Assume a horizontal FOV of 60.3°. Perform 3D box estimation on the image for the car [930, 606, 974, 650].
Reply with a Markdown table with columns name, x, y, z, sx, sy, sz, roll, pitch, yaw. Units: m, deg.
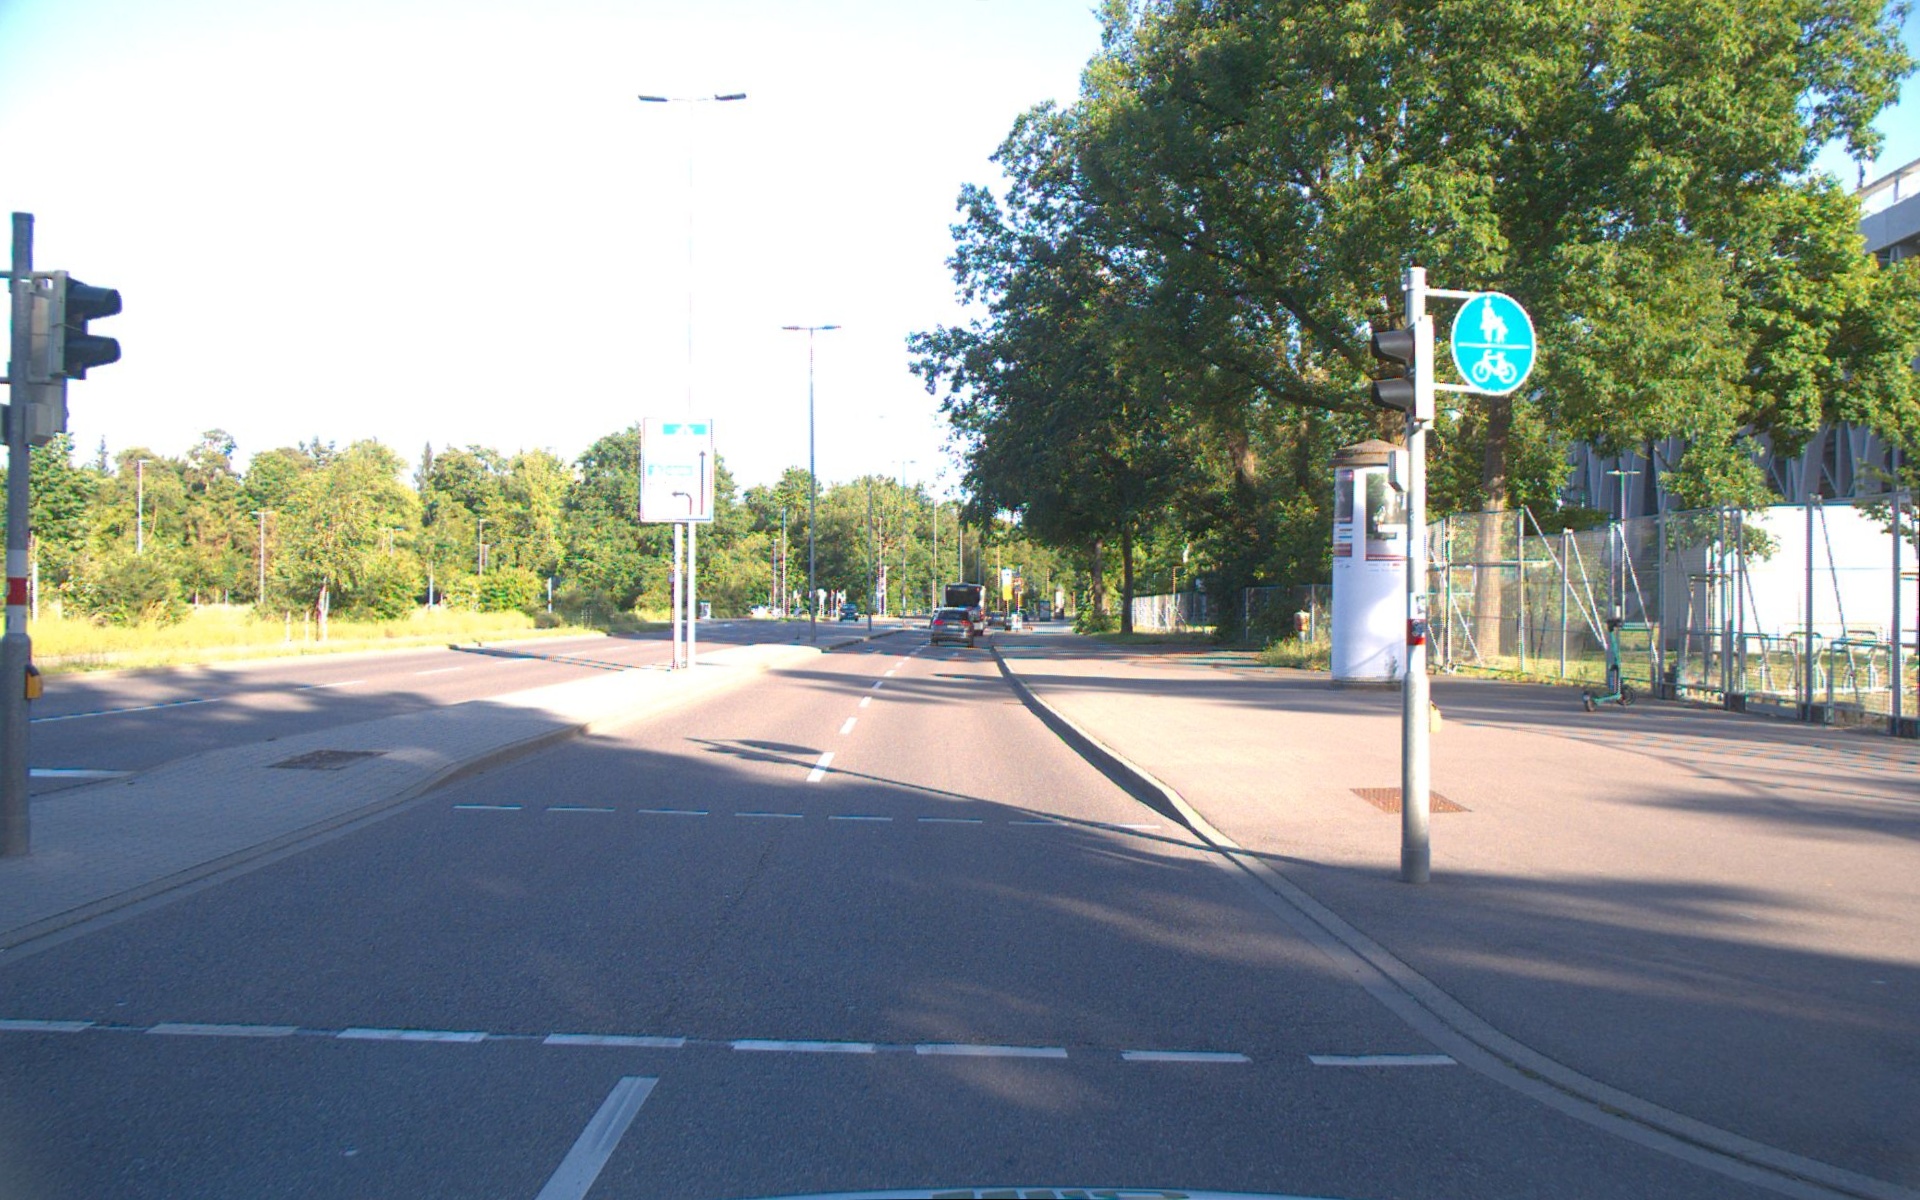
| name | x | y | z | sx | sy | sz | roll | pitch | yaw |
| --- | --- | --- | --- | --- | --- | --- | --- | --- | --- |
| car | -0.359 | 1.193 | 71.537 | 1.842 | 1.796 | 3.999 | 0 | 0 | -1 |

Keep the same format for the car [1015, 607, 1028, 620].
| name | x | y | z | sx | sy | sz | roll | pitch | yaw |
| --- | --- | --- | --- | --- | --- | --- | --- | --- | --- |
| car | 7.895 | 1.758 | 212.360 | 1.560 | 1.633 | 3.583 | 2 | -1 | 0 |

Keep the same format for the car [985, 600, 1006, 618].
| name | x | y | z | sx | sy | sz | roll | pitch | yaw |
| --- | --- | --- | --- | --- | --- | --- | --- | --- | --- |
| car | 3.380 | 0.837 | 157.621 | 1.824 | 1.713 | 3.774 | 0 | 0 | 3 |

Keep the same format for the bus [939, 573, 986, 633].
| name | x | y | z | sx | sy | sz | roll | pitch | yaw |
| --- | --- | --- | --- | --- | --- | --- | --- | --- | --- |
| bus | 0.116 | 0.155 | 99.224 | 2.552 | 3.427 | 7.973 | 1 | 0 | -1 |

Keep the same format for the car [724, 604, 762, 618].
| name | x | y | z | sx | sy | sz | roll | pitch | yaw |
| --- | --- | --- | --- | --- | --- | --- | --- | --- | --- |
| car | -22.712 | 1.167 | 173.164 | 3.631 | 1.378 | 1.718 | 0 | 0 | -33 |

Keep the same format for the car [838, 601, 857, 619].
| name | x | y | z | sx | sy | sz | roll | pitch | yaw |
| --- | --- | --- | --- | --- | --- | --- | --- | --- | --- |
| car | -11.448 | 1.010 | 168.631 | 1.825 | 1.713 | 3.771 | 0 | 0 | -1 |

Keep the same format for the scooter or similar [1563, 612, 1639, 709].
| name | x | y | z | sx | sy | sz | roll | pitch | yaw |
| --- | --- | --- | --- | --- | --- | --- | --- | --- | --- |
| scooter or similar | 8.843 | 0.816 | 22.786 | 0.558 | 1.278 | 1.593 | 0 | -1 | 37 |

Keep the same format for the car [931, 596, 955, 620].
| name | x | y | z | sx | sy | sz | roll | pitch | yaw |
| --- | --- | --- | --- | --- | --- | --- | --- | --- | --- |
| car | -1.314 | 0.591 | 127.211 | 1.842 | 1.796 | 3.999 | 0 | 0 | -1 |
